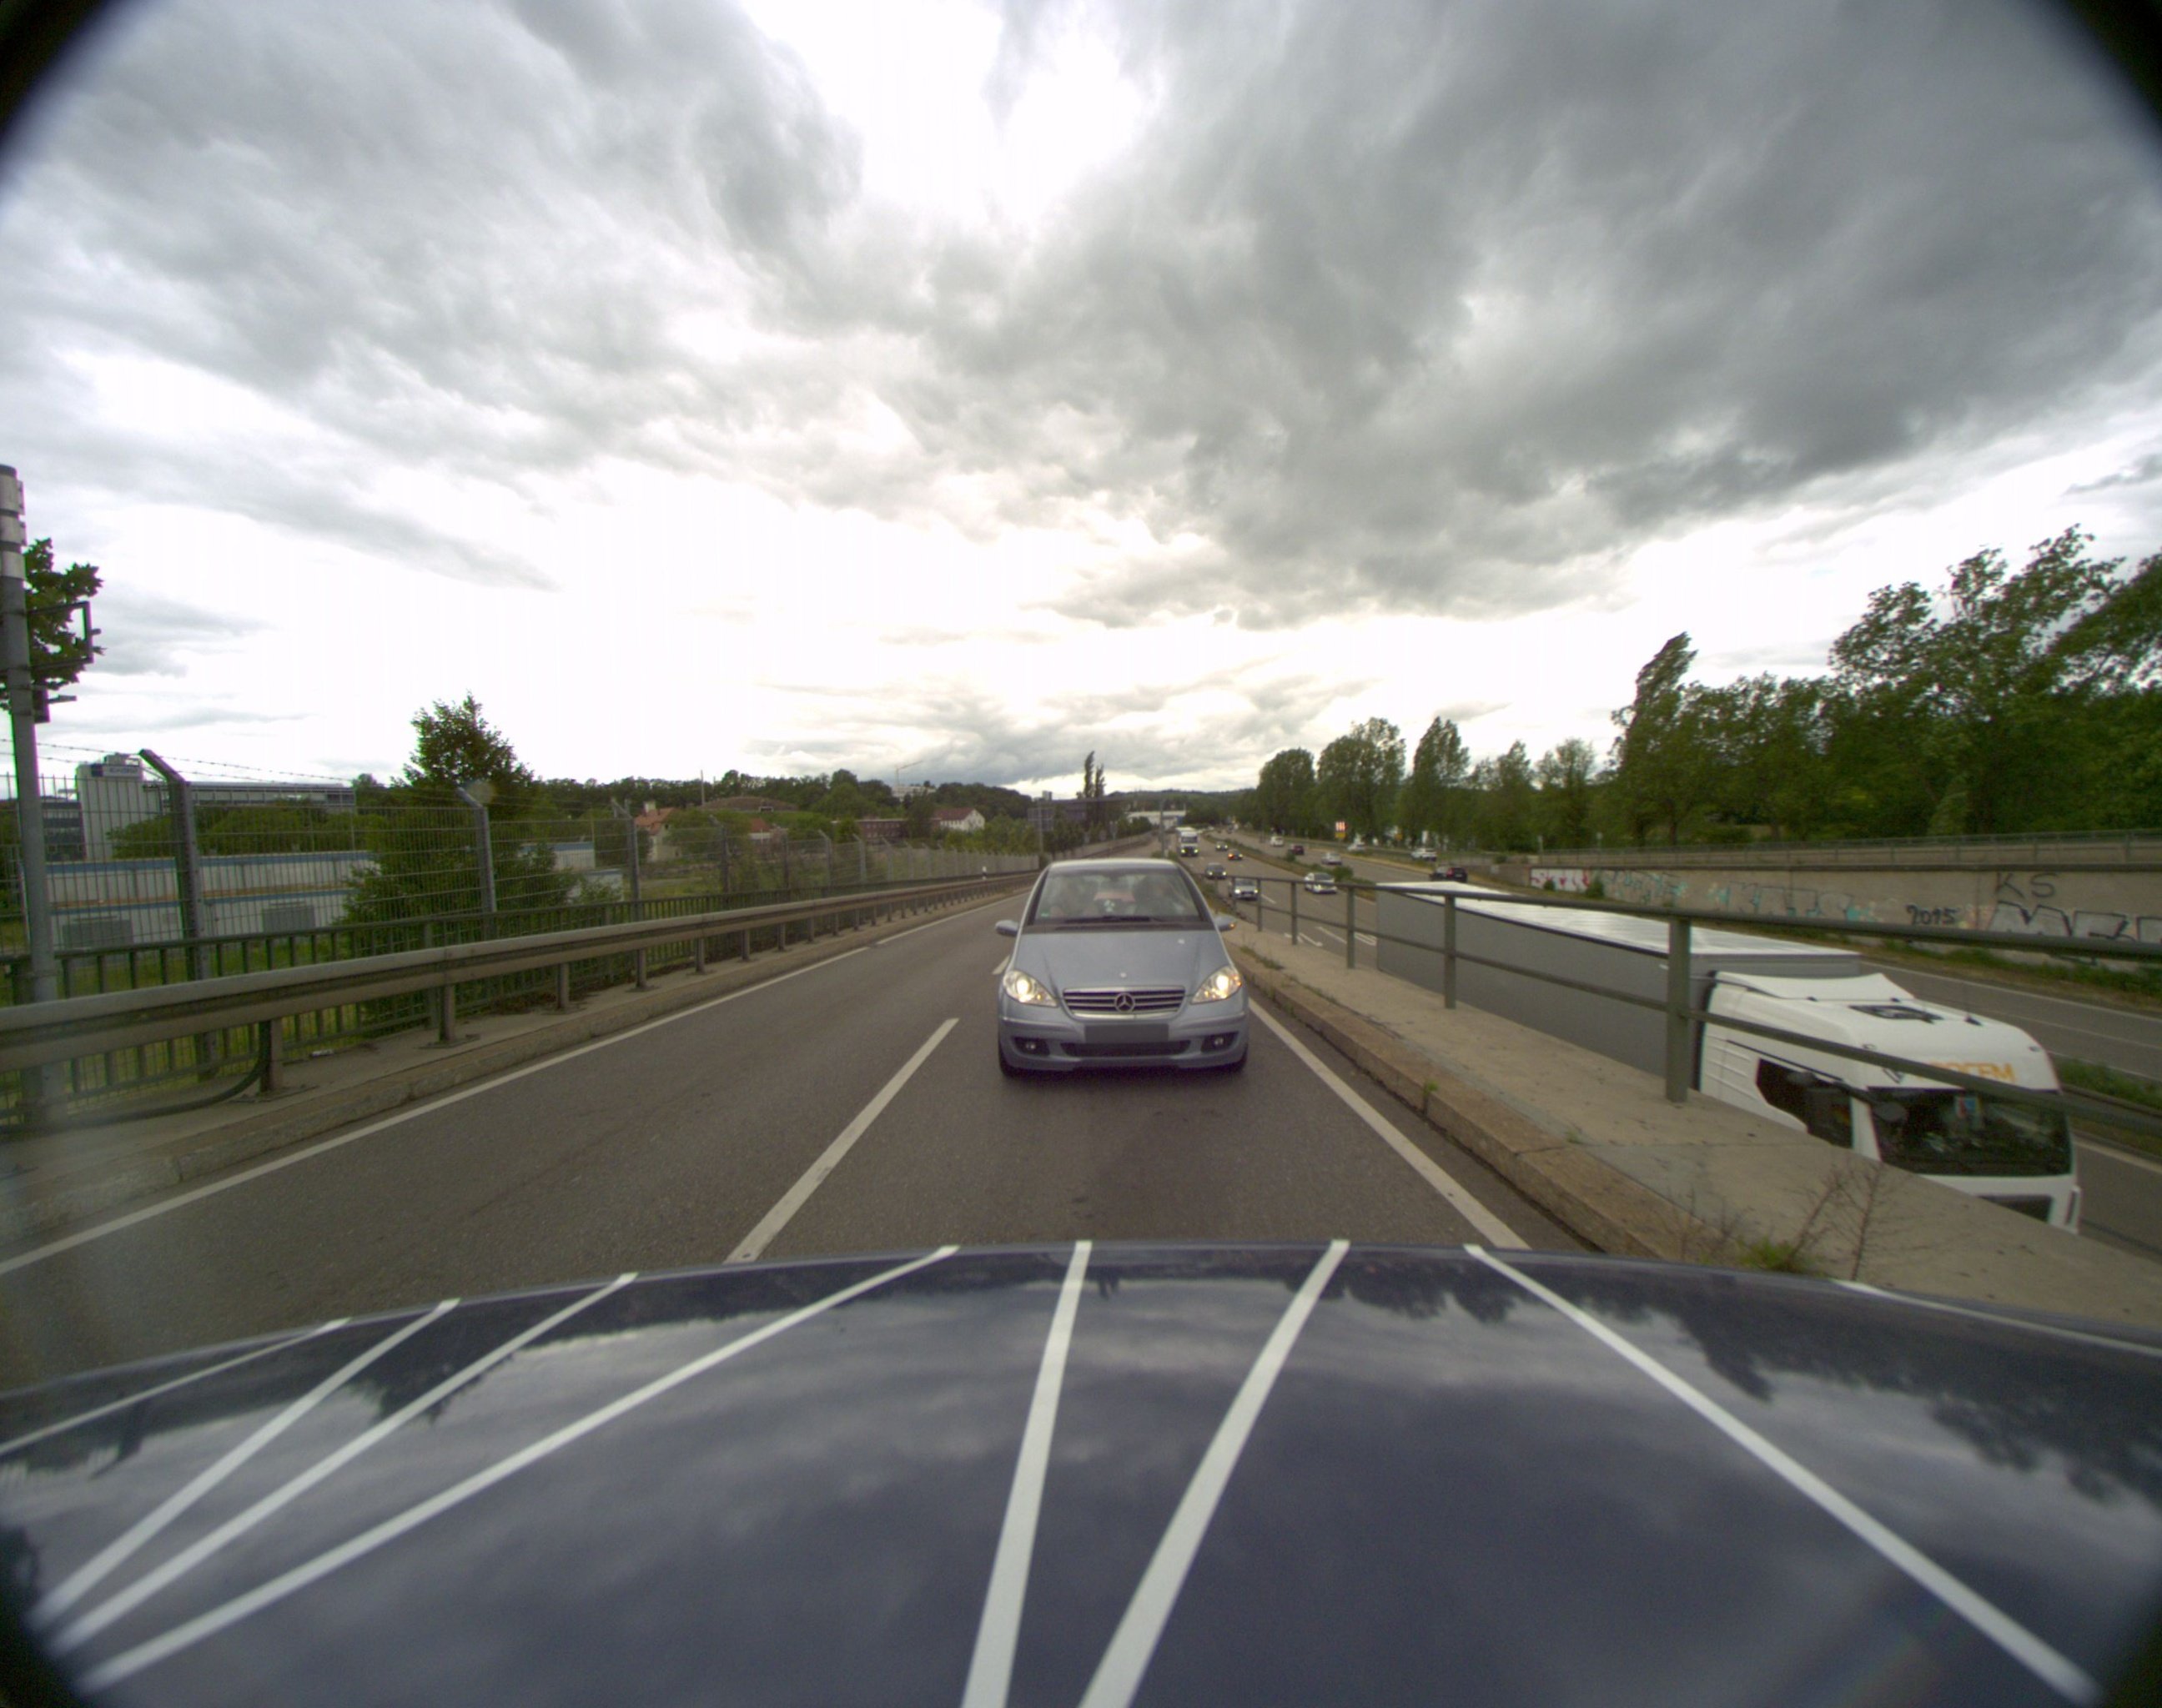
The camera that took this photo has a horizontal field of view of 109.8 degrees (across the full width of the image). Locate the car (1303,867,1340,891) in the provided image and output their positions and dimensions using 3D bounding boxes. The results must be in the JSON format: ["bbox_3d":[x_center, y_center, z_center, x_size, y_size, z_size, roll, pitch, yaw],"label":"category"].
[{"bbox_3d":[19.373,2.005,61.371,1.858,1.598,4.164,0,3,2],"label":"car"}]

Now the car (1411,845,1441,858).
[{"bbox_3d":[42.559,-0.309,93.747,1.837,1.567,4.347,-1,0,3],"label":"car"}]

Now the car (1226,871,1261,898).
[{"bbox_3d":[12.214,2.288,57.338,1.858,1.598,4.164,-1,3,2],"label":"car"}]

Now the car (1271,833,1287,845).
[{"bbox_3d":[38.972,-3.001,149.592,1.998,2.056,5.175,-2,3,2],"label":"car"}]

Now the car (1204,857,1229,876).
[{"bbox_3d":[13.446,1.234,75.594,1.858,1.598,4.164,-1,3,2],"label":"car"}]

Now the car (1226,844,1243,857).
[{"bbox_3d":[21.278,-0.559,105.488,1.858,1.598,4.165,0,3,4],"label":"car"}]

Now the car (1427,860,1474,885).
[{"bbox_3d":[32.321,1.588,66.606,1.936,1.831,4.408,-1,3,1],"label":"car"}]

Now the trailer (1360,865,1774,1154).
[{"bbox_3d":[10.863,2.851,19.861,2.758,4.228,13.146,0,3,2],"label":"trailer"}]

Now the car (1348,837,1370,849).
[{"bbox_3d":[44.161,-1.721,120.706,1.998,1.859,4.213,-1,0,1],"label":"car"}]

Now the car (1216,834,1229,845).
[{"bbox_3d":[24.712,-2.527,132.756,1.857,1.598,4.166,-1,3,7],"label":"car"}]

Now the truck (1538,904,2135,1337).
[{"bbox_3d":[10.569,3.294,12.027,2.758,4.228,6.695,0,3,2],"label":"truck"}]

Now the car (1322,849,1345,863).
[{"bbox_3d":[30.994,0.186,93.398,1.732,1.520,4.086,0,3,4],"label":"car"}]

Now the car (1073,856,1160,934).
[{"bbox_3d":[0.896,0.872,17.894,1.780,1.578,4.001,-1,0,4],"label":"car"}]

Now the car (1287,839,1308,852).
[{"bbox_3d":[33.144,-1.317,116.432,1.920,1.729,4.550,-1,3,0],"label":"car"}]

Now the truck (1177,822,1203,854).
[{"bbox_3d":[16.910,-2.632,118.743,3.179,4.501,11.121,-1,3,4],"label":"truck"}]

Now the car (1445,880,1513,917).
[{"bbox_3d":[25.025,2.767,47.966,1.998,1.831,4.421,0,3,1],"label":"car"}]

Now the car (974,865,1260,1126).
[{"bbox_3d":[0.313,0.939,6.847,1.780,1.578,4.001,-1,0,3],"label":"car"}]
